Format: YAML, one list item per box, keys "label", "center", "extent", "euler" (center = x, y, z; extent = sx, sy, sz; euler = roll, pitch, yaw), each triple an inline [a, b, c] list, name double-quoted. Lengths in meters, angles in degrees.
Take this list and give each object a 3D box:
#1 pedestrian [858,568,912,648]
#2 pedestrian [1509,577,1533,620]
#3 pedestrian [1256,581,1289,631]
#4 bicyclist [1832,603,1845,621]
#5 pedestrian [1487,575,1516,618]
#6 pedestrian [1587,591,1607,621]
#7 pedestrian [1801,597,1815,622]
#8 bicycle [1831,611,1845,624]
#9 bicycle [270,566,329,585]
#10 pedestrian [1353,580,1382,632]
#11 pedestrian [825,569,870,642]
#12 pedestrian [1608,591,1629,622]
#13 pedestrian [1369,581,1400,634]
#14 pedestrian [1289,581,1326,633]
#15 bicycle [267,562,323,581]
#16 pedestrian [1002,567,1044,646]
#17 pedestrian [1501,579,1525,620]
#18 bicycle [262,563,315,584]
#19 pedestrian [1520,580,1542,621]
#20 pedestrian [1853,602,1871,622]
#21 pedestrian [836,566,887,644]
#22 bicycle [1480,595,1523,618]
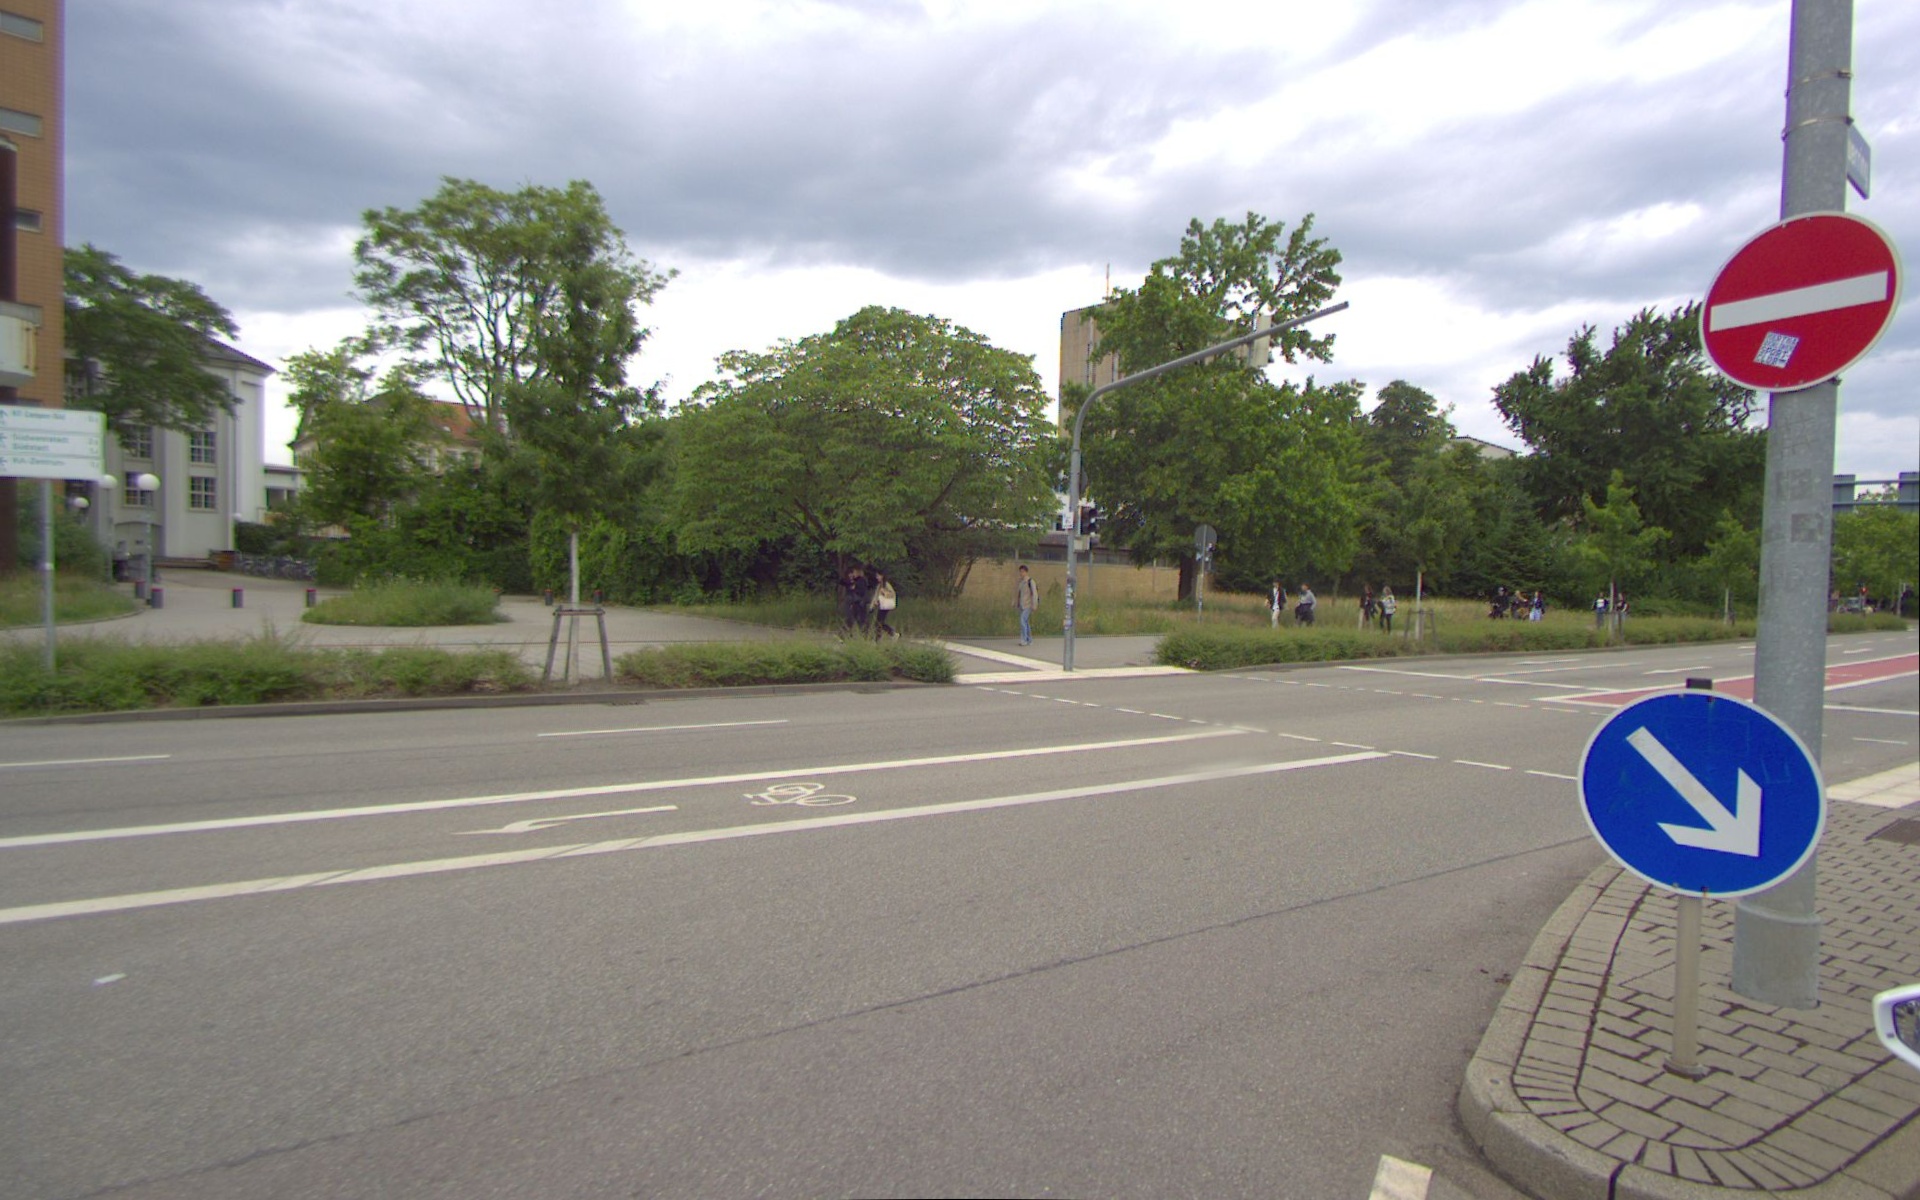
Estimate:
- label: "pedestrian"
  center: [-1.646, 0.163, 22.123]
  extent: [0.934, 1.693, 0.702]
  euler: [-1, 3, -36]
- label: "pedestrian"
  center: [21.614, -0.076, 38.716]
  extent: [0.609, 1.631, 0.572]
  euler: [0, 1, -29]
- label: "pedestrian"
  center: [9.488, 0.178, 30.507]
  extent: [0.754, 1.500, 0.631]
  euler: [-1, 1, -36]
- label: "bicyclist"
  center: [80.568, 1.104, 92.144]
  extent: [0.657, 1.657, 0.959]
  euler: [4, 3, 33]
- label: "pedestrian"
  center: [21.249, -0.149, 39.407]
  extent: [0.754, 1.654, 0.658]
  euler: [0, 1, -28]
- label: "pedestrian"
  center: [29.384, 0.259, 46.329]
  extent: [0.676, 1.381, 0.638]
  euler: [-1, 2, -44]
- label: "pedestrian"
  center: [60.400, 0.683, 71.528]
  extent: [0.811, 1.752, 0.615]
  euler: [-1, 1, -39]
- label: "bicycle"
  center: [80.593, 1.587, 92.235]
  extent: [0.657, 1.076, 1.615]
  euler: [4, 3, 33]
- label: "bicycle"
  center: [-32.981, -1.209, 50.174]
  extent: [2.312, 0.951, 0.851]
  euler: [0, 1, -21]
- label: "pedestrian"
  center: [13.663, 0.189, 33.683]
  extent: [0.754, 1.735, 0.574]
  euler: [-1, 1, -36]
- label: "pedestrian"
  center: [-2.612, 0.103, 23.341]
  extent: [0.623, 1.635, 0.828]
  euler: [4, 4, 29]
- label: "pedestrian"
  center: [29.796, 0.304, 45.461]
  extent: [0.706, 1.376, 0.639]
  euler: [-1, 1, -41]
- label: "pedestrian"
  center: [14.005, 0.238, 33.139]
  extent: [0.739, 1.718, 0.617]
  euler: [-1, 1, -36]
- label: "pedestrian"
  center: [10.335, 0.195, 29.878]
  extent: [0.805, 1.500, 0.724]
  euler: [-1, 1, -35]
- label: "bicycle"
  center: [-34.053, -1.464, 51.469]
  extent: [2.319, 0.951, 0.849]
  euler: [0, 1, -29]
- label: "pedestrian"
  center: [1.496, 0.147, 23.894]
  extent: [0.754, 1.825, 0.633]
  euler: [-1, 3, -36]
- label: "pedestrian"
  center: [23.193, -0.024, 42.136]
  extent: [0.762, 1.695, 0.699]
  euler: [-1, 2, -45]
- label: "bicycle"
  center: [-32.821, -1.271, 49.091]
  extent: [1.996, 1.010, 0.818]
  euler: [0, 1, -21]
- label: "pedestrian"
  center: [23.671, -0.004, 41.639]
  extent: [0.715, 1.682, 0.579]
  euler: [-1, 2, -45]
- label: "pedestrian"
  center: [80.519, 1.084, 89.692]
  extent: [0.825, 1.762, 0.831]
  euler: [3, -2, 12]
- label: "pedestrian"
  center: [-2.230, 0.104, 22.660]
  extent: [0.881, 1.693, 0.702]
  euler: [-1, 4, -36]
- label: "bicycle"
  center: [21.247, 0.253, 39.416]
  extent: [1.693, 0.900, 0.658]
  euler: [0, 1, -28]
